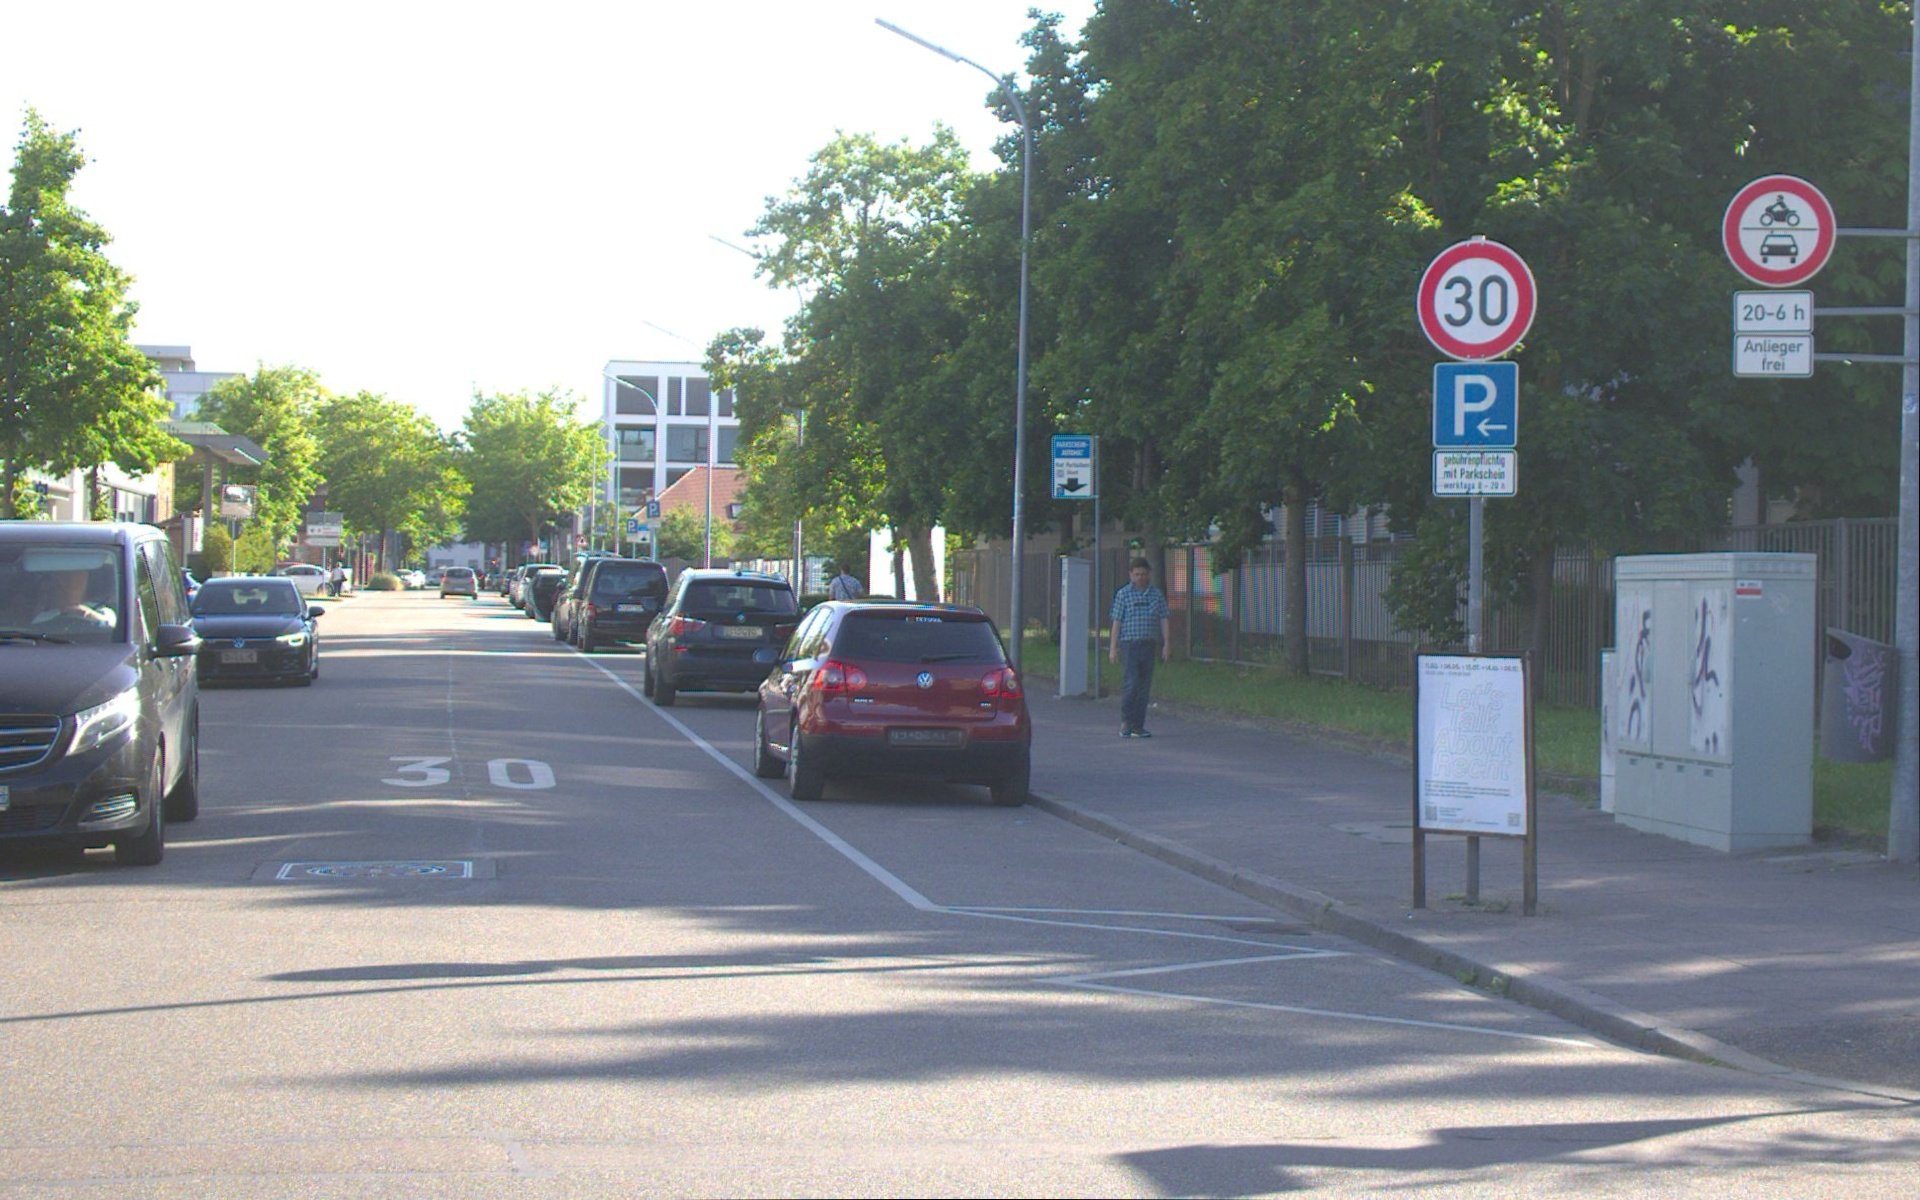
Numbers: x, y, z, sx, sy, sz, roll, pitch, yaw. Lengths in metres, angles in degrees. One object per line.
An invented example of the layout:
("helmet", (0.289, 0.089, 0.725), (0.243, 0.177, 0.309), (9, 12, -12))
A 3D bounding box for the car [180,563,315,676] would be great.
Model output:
("car", (-9.595, 0.234, 46.386), (1.703, 1.446, 4.087), (0, 1, -11))

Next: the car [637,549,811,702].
("car", (-2.978, 0.270, 42.559), (1.811, 1.660, 4.593), (2, 1, -7))

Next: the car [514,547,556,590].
("car", (-15.800, -1.176, 127.648), (1.435, 1.555, 3.043), (1, 1, -9))

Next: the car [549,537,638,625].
("car", (-8.512, -0.461, 79.602), (1.874, 1.971, 4.001), (0, 1, -9))

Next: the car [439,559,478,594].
("car", (-23.233, -1.080, 159.175), (1.743, 1.538, 4.001), (2, 0, -8))

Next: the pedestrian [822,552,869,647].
("pedestrian", (-2.028, -0.018, 60.917), (0.698, 1.655, 0.752), (-2, 1, -9))

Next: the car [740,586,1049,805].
("car", (-0.608, 0.671, 26.694), (1.719, 1.450, 4.653), (2, 0, -9))

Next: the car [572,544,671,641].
("car", (-6.641, -0.167, 67.253), (1.732, 1.824, 3.906), (1, 1, -8))

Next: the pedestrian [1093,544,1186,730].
("pedestrian", (1.728, 0.343, 33.165), (0.717, 1.752, 0.885), (-1, 1, -8))

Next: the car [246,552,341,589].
("car", (-29.528, -1.306, 152.446), (3.986, 1.514, 2.000), (1, -1, -8))

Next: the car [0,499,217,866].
("car", (-5.496, 0.388, 20.025), (1.954, 1.861, 5.256), (0, 1, -9))

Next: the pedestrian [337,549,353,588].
("pedestrian", (-25.673, -1.319, 143.580), (0.618, 1.618, 0.716), (0, 1, -9))

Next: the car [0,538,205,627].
("car", (-17.500, -0.365, 69.687), (4.212, 1.597, 1.872), (3, 0, -12))
